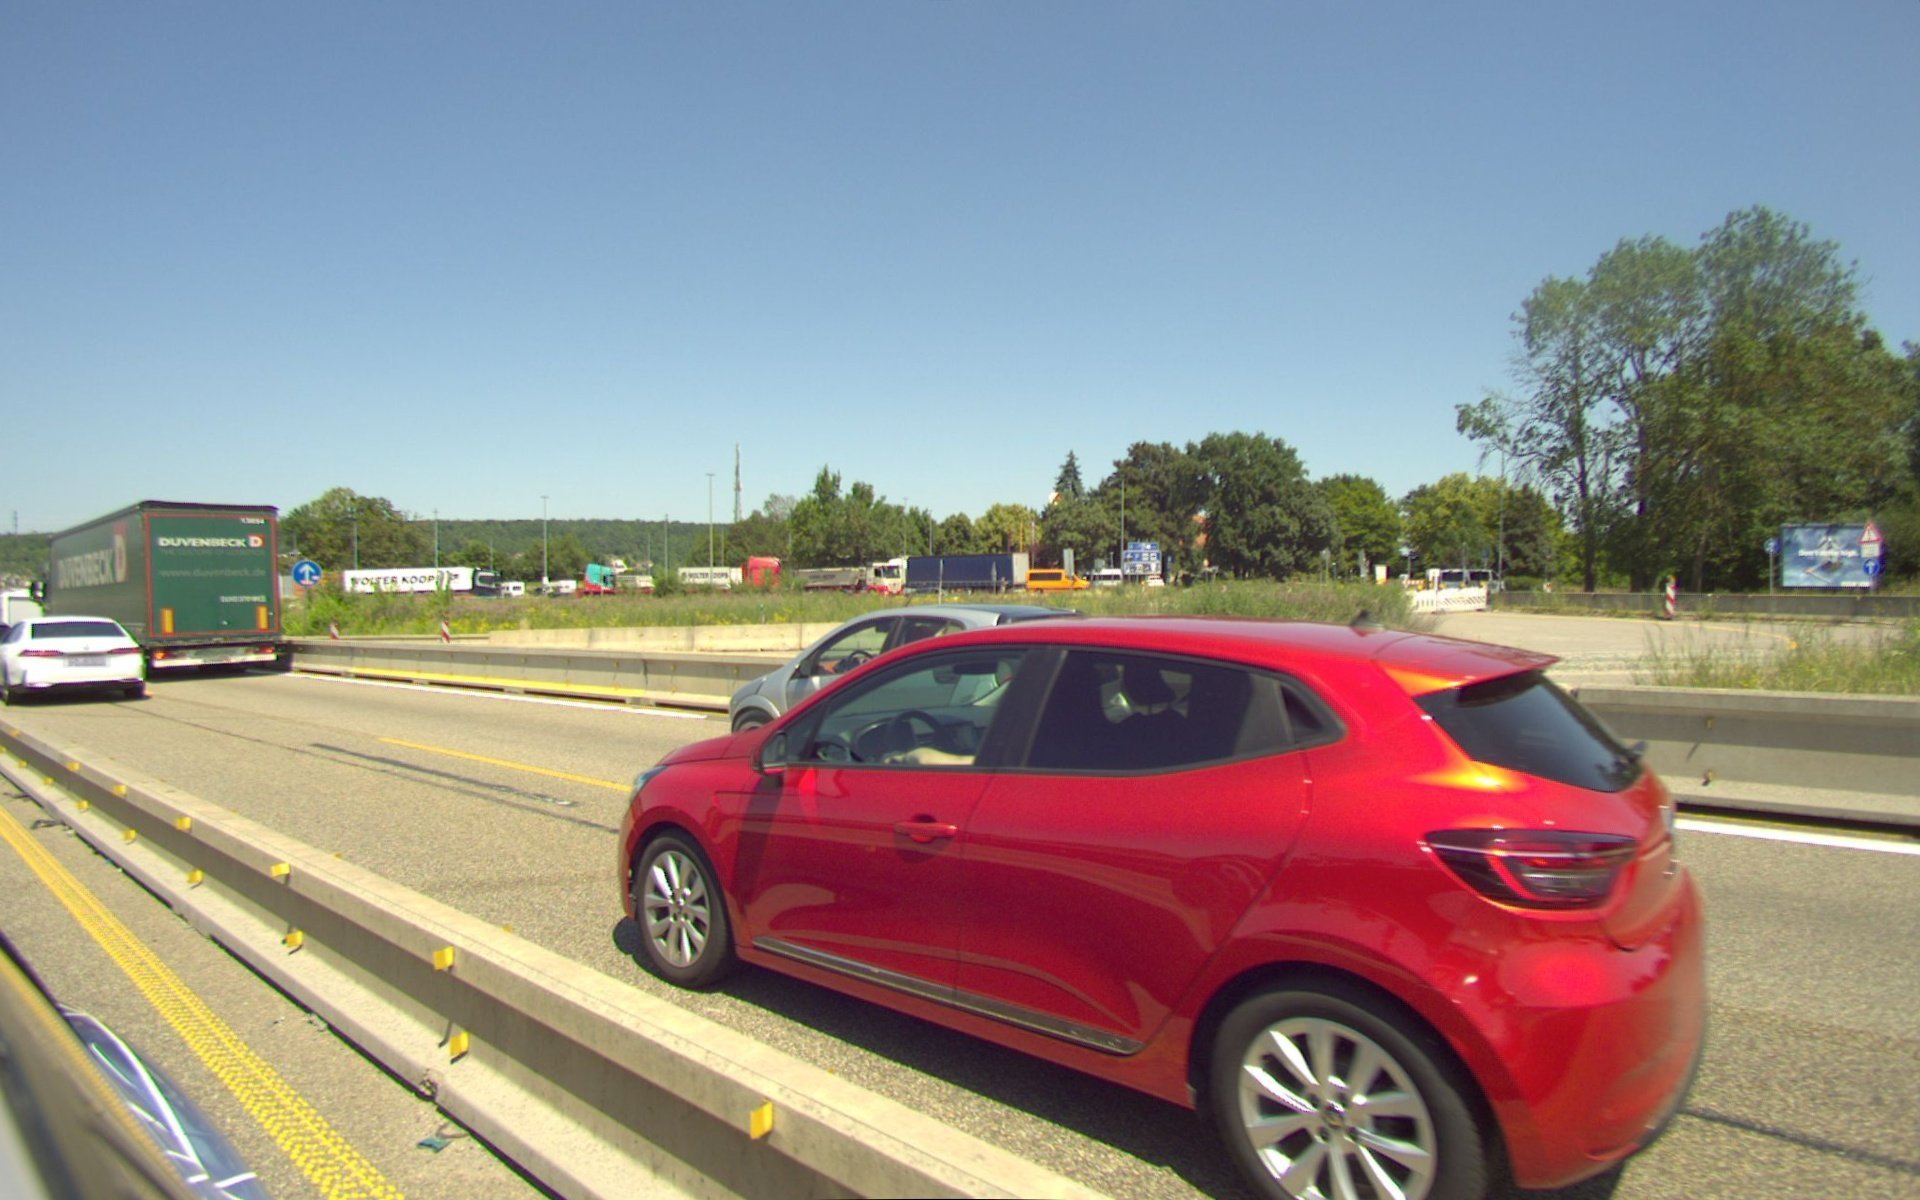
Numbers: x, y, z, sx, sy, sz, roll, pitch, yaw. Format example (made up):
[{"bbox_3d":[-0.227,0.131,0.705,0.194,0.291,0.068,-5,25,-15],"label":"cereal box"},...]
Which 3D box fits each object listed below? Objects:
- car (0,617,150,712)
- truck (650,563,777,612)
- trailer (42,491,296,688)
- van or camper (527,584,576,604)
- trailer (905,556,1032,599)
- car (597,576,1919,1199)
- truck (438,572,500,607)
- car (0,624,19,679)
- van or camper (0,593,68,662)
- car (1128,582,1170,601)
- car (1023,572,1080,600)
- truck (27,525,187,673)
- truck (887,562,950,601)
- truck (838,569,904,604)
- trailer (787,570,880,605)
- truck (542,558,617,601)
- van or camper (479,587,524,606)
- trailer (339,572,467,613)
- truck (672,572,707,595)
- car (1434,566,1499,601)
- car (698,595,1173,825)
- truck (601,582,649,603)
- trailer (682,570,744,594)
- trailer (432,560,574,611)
[{"bbox_3d":[-16.651,1.108,18.644,4.757,1.504,1.876,-1,-1,41],"label":"car"},{"bbox_3d":[-20.231,-1.034,83.384,9.941,3.806,2.002,-1,0,-4],"label":"truck"},{"bbox_3d":[-21.904,-0.107,27.464,13.845,4.230,2.975,-1,-1,42],"label":"trailer"},{"bbox_3d":[-60.247,-0.795,149.267,8.583,2.754,2.728,-1,0,37],"label":"van or camper"},{"bbox_3d":[0.641,-2.095,97.712,13.425,3.649,2.991,-1,1,41],"label":"trailer"},{"bbox_3d":[0.576,0.717,3.442,3.997,1.445,1.632,-1,-1,40],"label":"car"},{"bbox_3d":[-56.134,-1.260,115.708,5.647,3.644,2.586,-4,2,-8],"label":"truck"},{"bbox_3d":[-27.946,1.454,28.438,4.225,1.484,1.748,-2,-1,41],"label":"car"},{"bbox_3d":[-42.784,1.228,46.125,7.823,2.939,2.410,-1,-1,43],"label":"van or camper"},{"bbox_3d":[19.630,-0.893,105.237,3.938,1.847,1.745,-1,0,-6],"label":"car"},{"bbox_3d":[8.218,-1.262,90.978,4.965,2.270,1.996,-2,1,7],"label":"car"},{"bbox_3d":[-27.175,0.011,32.138,6.280,4.235,2.975,-2,-1,41],"label":"truck"},{"bbox_3d":[-4.206,-1.837,101.844,5.956,3.649,2.835,-2,1,41],"label":"truck"},{"bbox_3d":[-7.662,-1.150,87.087,5.624,2.788,2.248,-2,1,39],"label":"truck"},{"bbox_3d":[-11.346,-1.064,89.978,9.384,2.788,2.232,-2,1,39],"label":"trailer"},{"bbox_3d":[-37.196,-2.047,99.090,6.053,3.777,2.837,-4,2,-5],"label":"truck"},{"bbox_3d":[-72.412,-0.510,159.656,8.583,2.754,2.728,-1,0,37],"label":"van or camper"},{"bbox_3d":[-63.147,-0.940,115.016,12.559,3.812,2.624,-4,2,-5],"label":"trailer"},{"bbox_3d":[-43.143,-2.619,161.461,4.902,3.383,2.866,-2,1,39],"label":"truck"},{"bbox_3d":[31.055,-1.019,62.039,3.936,2.029,2.004,-3,1,-38],"label":"car"},{"bbox_3d":[-0.338,0.738,8.360,3.782,1.459,1.607,-1,0,40],"label":"car"},{"bbox_3d":[-45.319,-1.030,136.745,7.775,2.624,2.515,-1,1,42],"label":"truck"},{"bbox_3d":[-38.550,-2.727,157.738,11.693,3.405,2.915,-1,0,39],"label":"trailer"},{"bbox_3d":[-44.347,-1.442,98.542,12.191,4.197,2.864,-4,2,-4],"label":"trailer"}]
